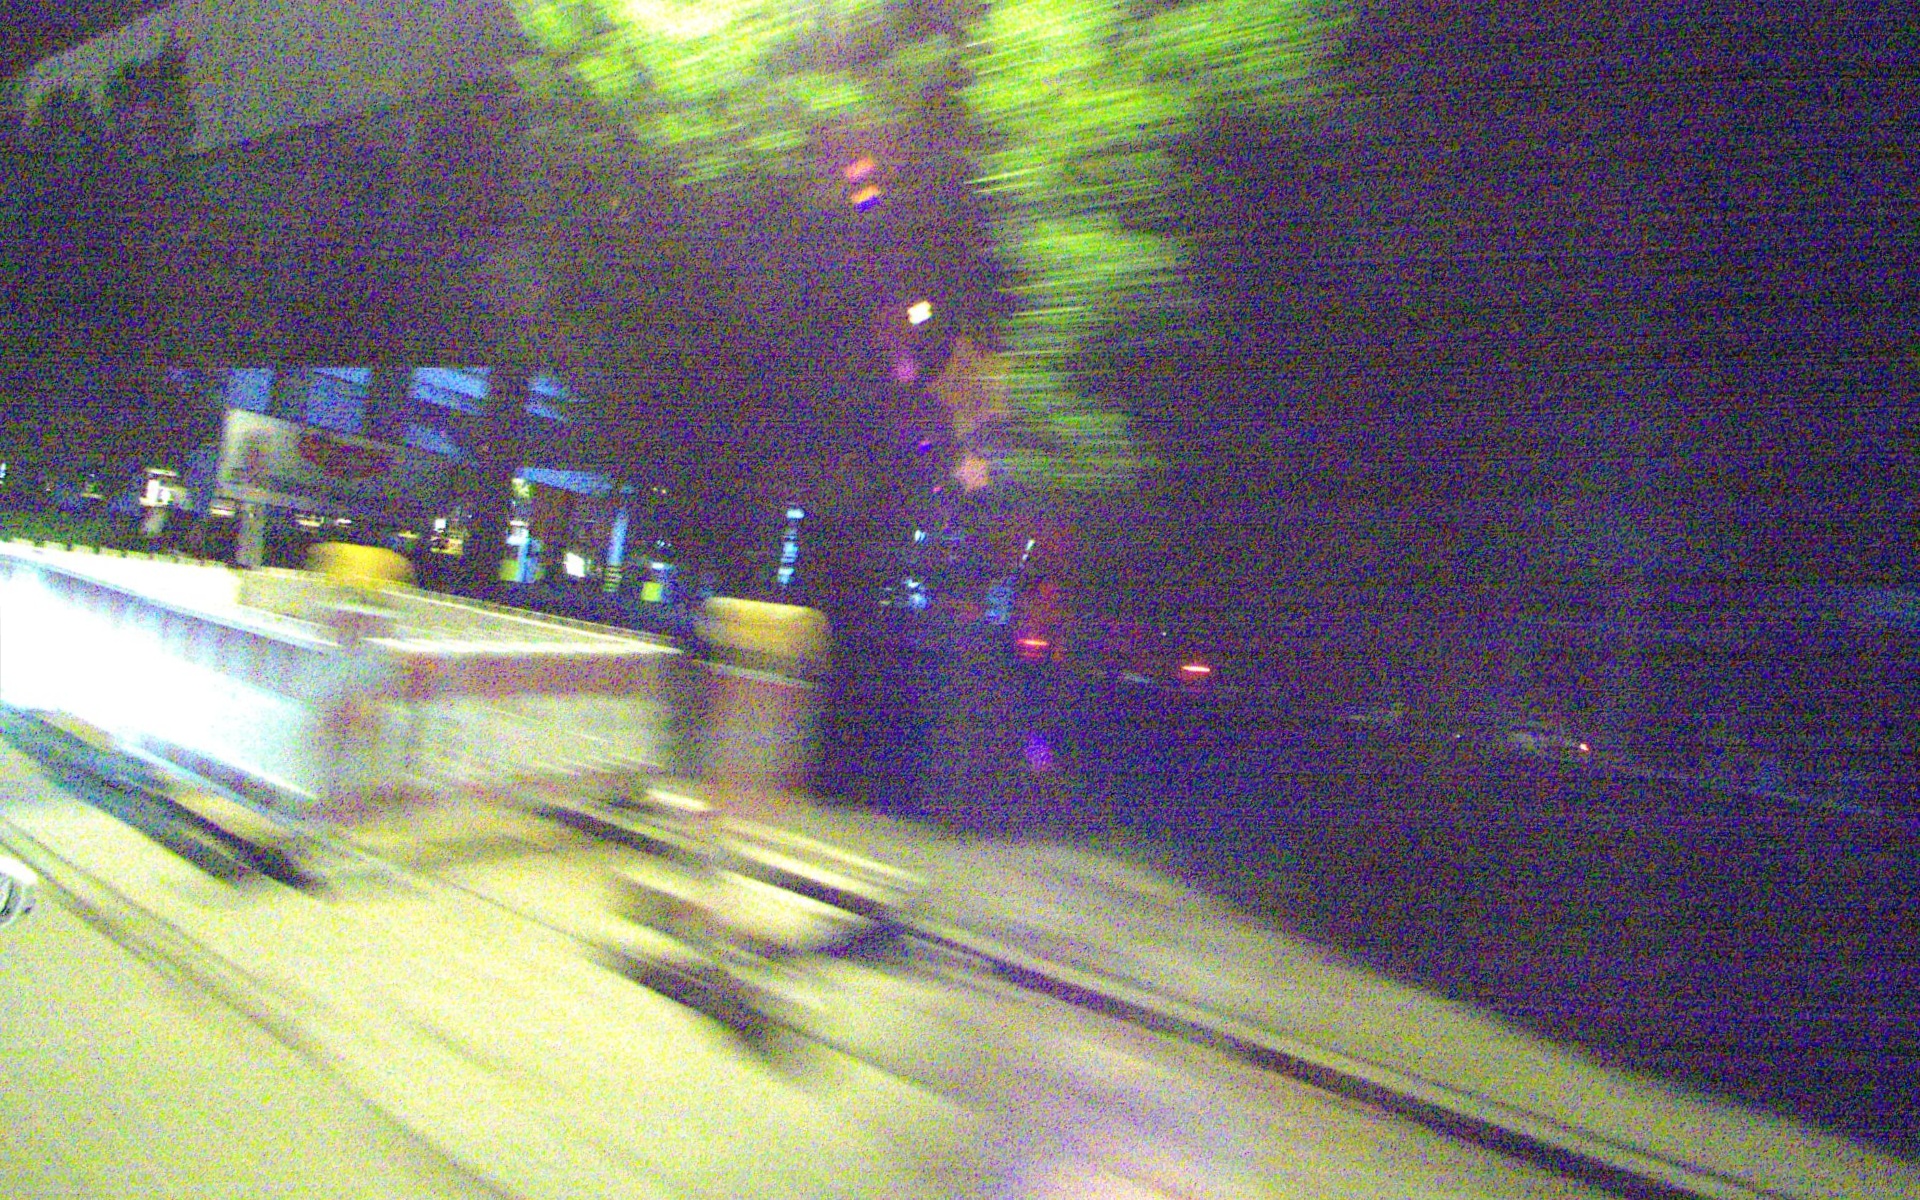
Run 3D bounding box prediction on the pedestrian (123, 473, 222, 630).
[{"bbox_3d":[-10.054,-0.615,12.849,0.806,1.874,0.571,7,0,32],"label":"pedestrian"}]
